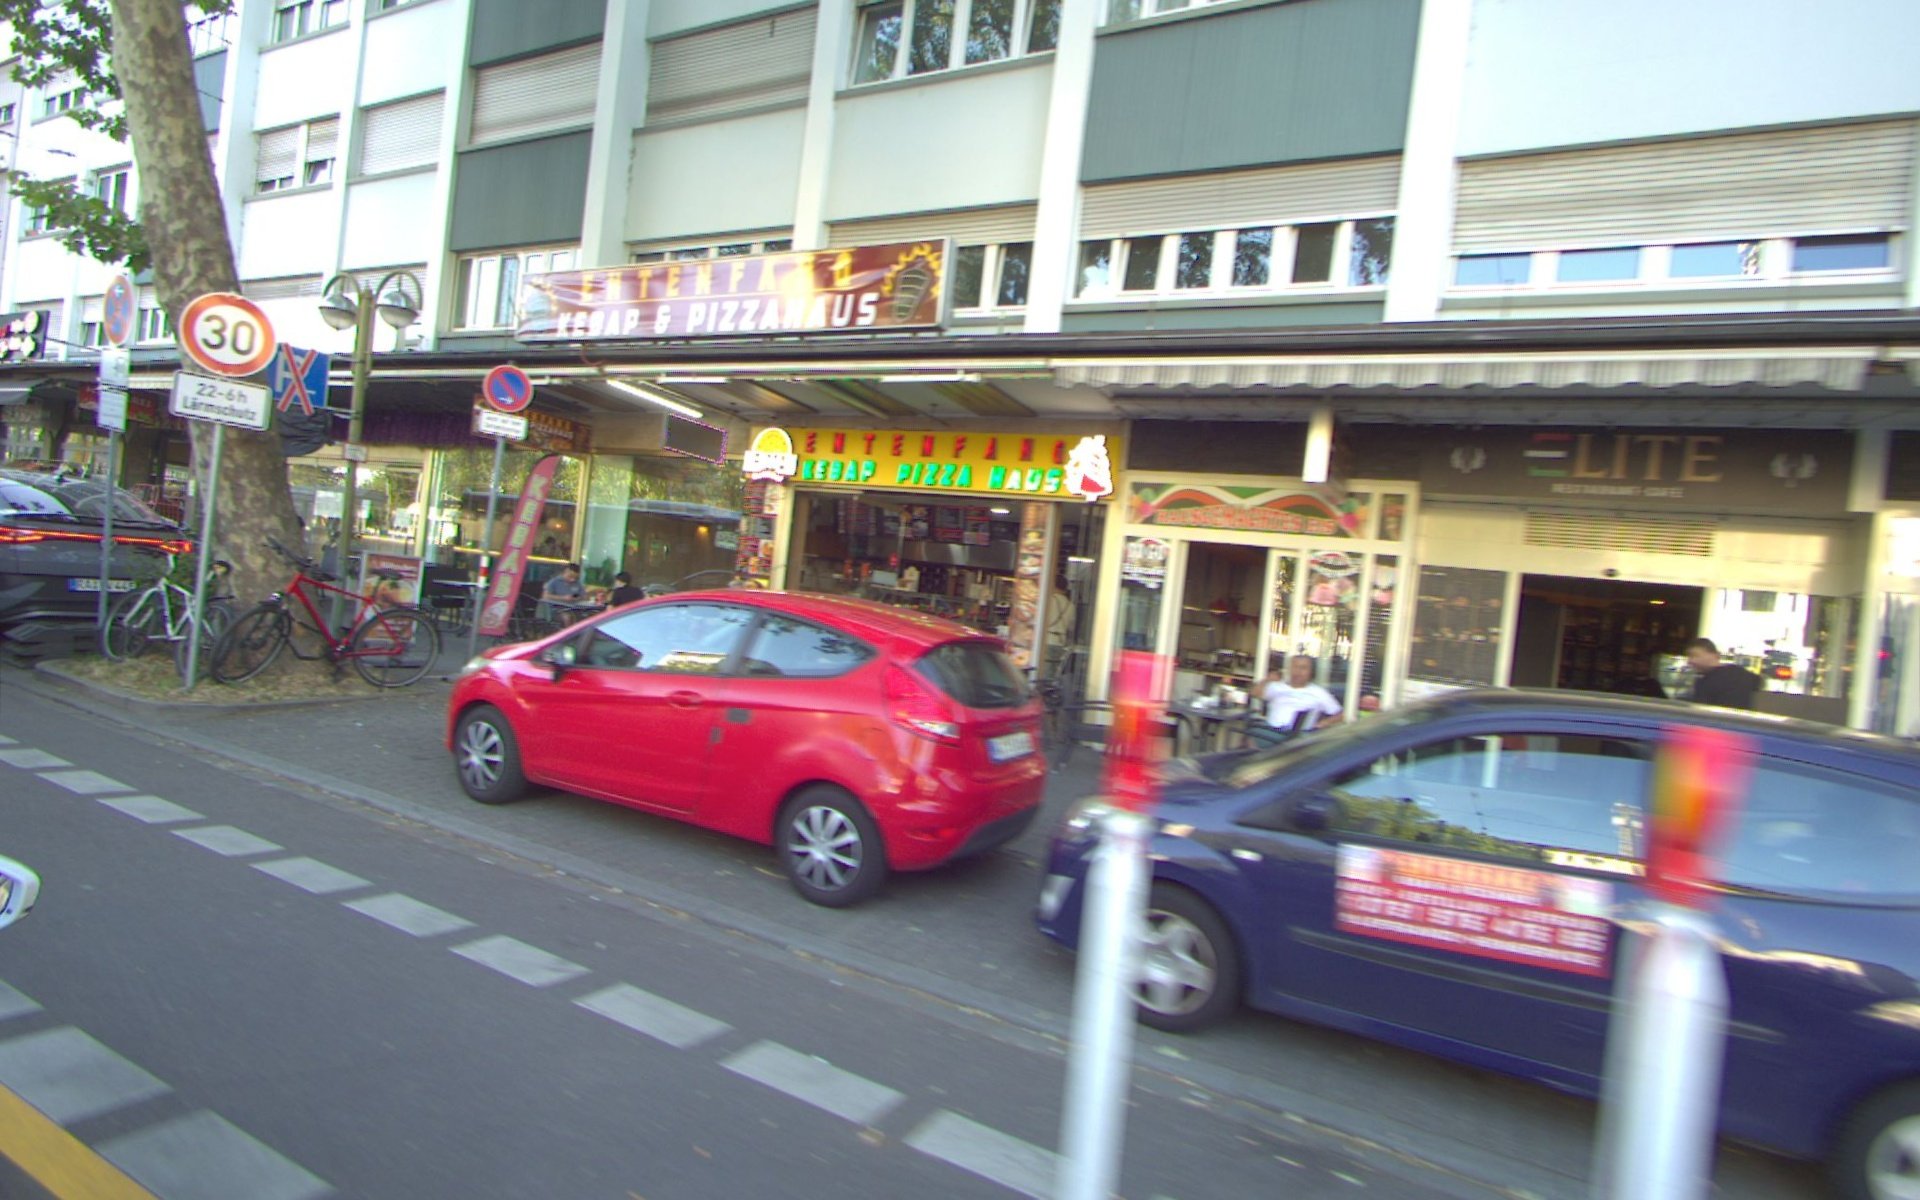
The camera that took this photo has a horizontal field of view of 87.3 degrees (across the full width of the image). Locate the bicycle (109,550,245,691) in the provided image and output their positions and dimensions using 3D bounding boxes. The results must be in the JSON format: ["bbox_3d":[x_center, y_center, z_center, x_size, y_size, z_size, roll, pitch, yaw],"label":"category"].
[{"bbox_3d":[-6.291,0.149,8.077,1.110,0.941,0.295,9,6,20],"label":"bicycle"}]

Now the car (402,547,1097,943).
[{"bbox_3d":[-1.307,0.630,6.056,3.779,1.448,1.668,7,2,26],"label":"car"}]

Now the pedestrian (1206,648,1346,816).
[{"bbox_3d":[2.775,1.096,8.770,0.766,1.249,1.202,7,3,33],"label":"pedestrian"}]

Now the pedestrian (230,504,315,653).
[{"bbox_3d":[-9.939,-0.303,14.546,0.685,2.038,0.613,7,1,31],"label":"pedestrian"}]

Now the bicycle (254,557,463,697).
[{"bbox_3d":[-5.087,0.237,8.575,0.291,1.082,1.456,12,7,42],"label":"bicycle"}]

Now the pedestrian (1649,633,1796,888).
[{"bbox_3d":[5.679,1.156,7.536,0.579,1.759,0.596,8,3,28],"label":"pedestrian"}]

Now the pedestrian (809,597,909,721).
[{"bbox_3d":[-1.053,0.597,10.495,0.740,1.172,0.593,7,3,32],"label":"pedestrian"}]

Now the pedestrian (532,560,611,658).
[{"bbox_3d":[-5.163,0.117,13.377,0.694,1.220,0.675,7,3,41],"label":"pedestrian"}]

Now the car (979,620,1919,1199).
[{"bbox_3d":[2.082,1.039,4.040,3.542,1.485,1.621,7,2,28],"label":"car"}]

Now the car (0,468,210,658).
[{"bbox_3d":[-9.755,-0.519,10.132,4.223,1.619,1.742,7,2,26],"label":"car"}]

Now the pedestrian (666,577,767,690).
[{"bbox_3d":[-2.885,0.398,11.919,0.688,1.237,0.861,8,4,45],"label":"pedestrian"}]

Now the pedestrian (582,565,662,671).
[{"bbox_3d":[-4.309,0.229,12.828,0.701,1.260,0.614,7,3,40],"label":"pedestrian"}]

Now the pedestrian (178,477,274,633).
[{"bbox_3d":[-10.135,-0.614,13.889,0.685,2.038,0.691,7,1,31],"label":"pedestrian"}]
